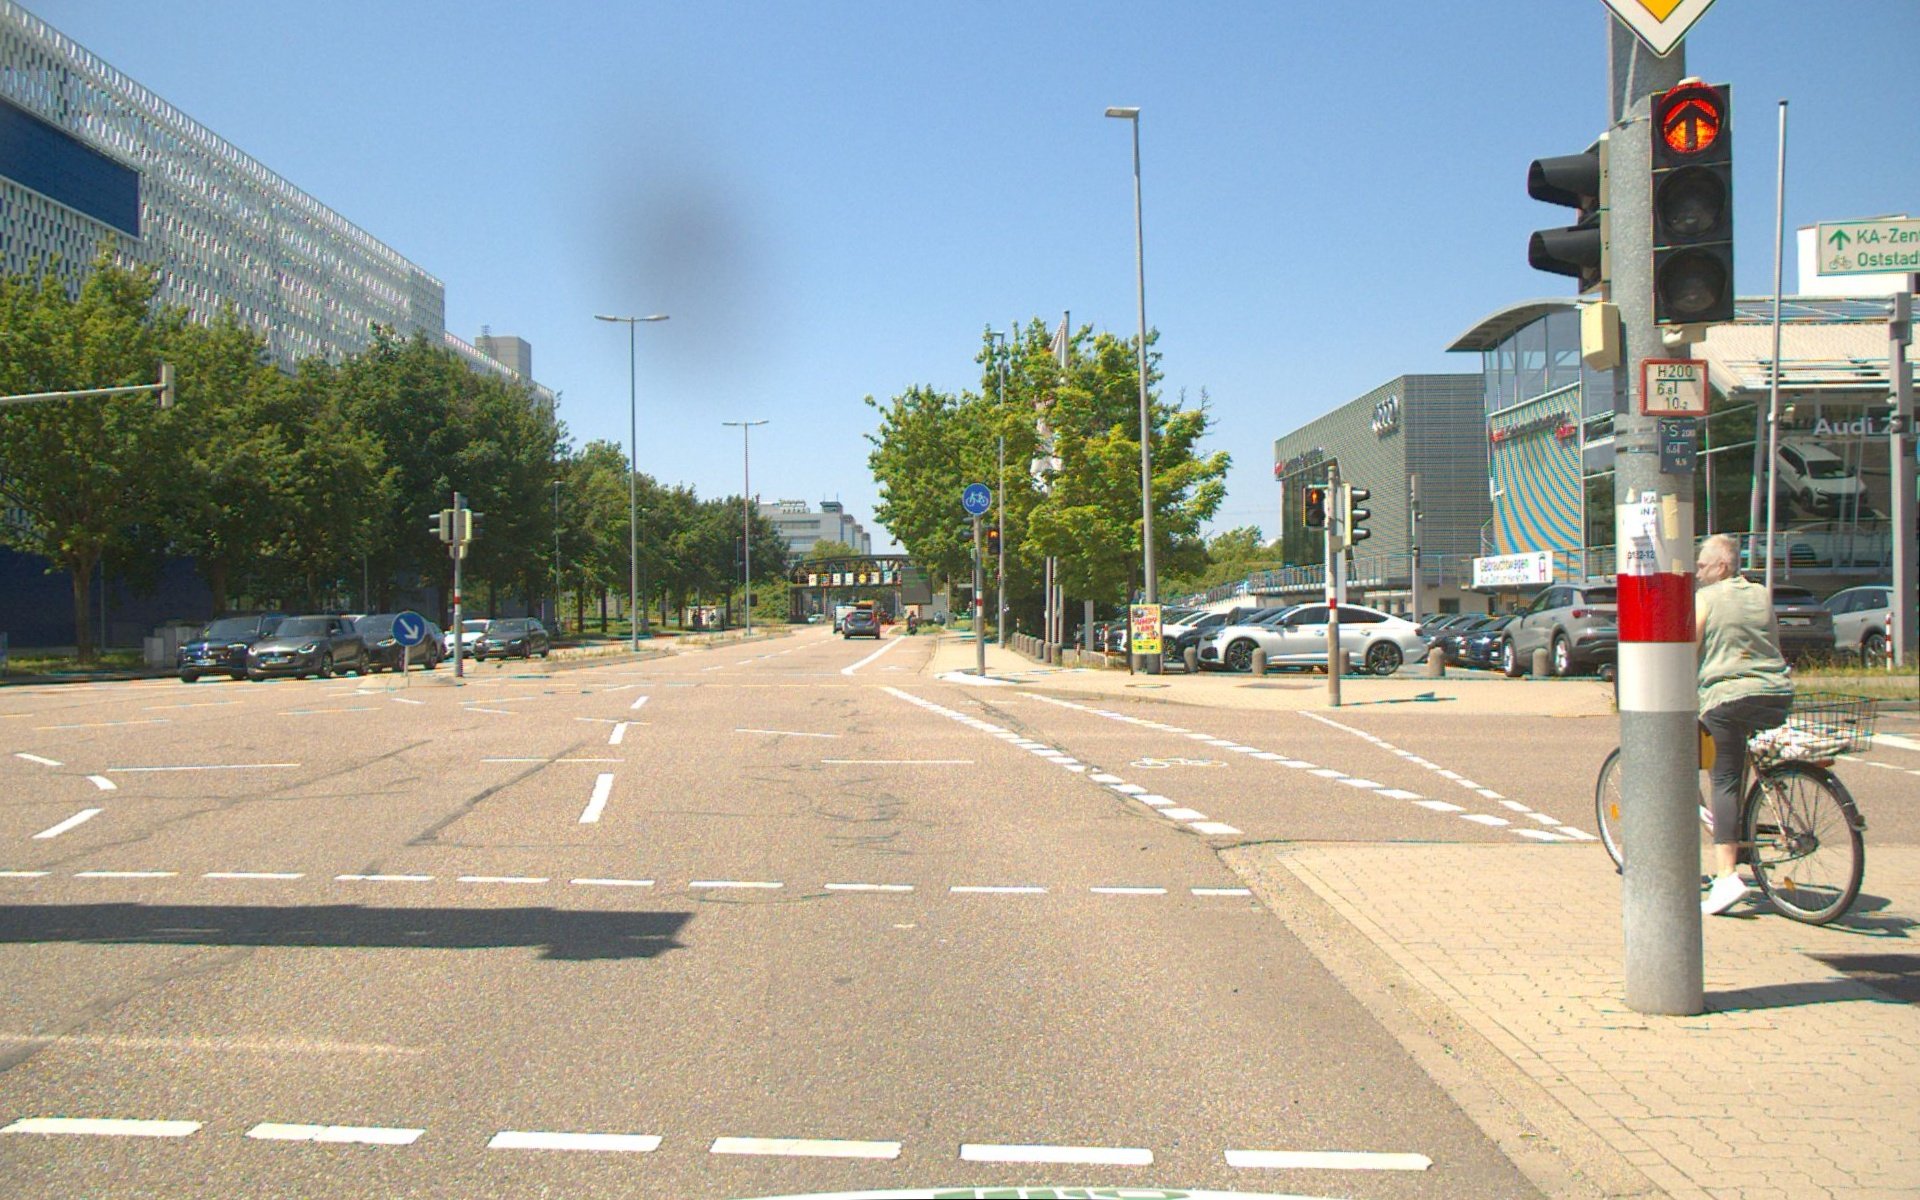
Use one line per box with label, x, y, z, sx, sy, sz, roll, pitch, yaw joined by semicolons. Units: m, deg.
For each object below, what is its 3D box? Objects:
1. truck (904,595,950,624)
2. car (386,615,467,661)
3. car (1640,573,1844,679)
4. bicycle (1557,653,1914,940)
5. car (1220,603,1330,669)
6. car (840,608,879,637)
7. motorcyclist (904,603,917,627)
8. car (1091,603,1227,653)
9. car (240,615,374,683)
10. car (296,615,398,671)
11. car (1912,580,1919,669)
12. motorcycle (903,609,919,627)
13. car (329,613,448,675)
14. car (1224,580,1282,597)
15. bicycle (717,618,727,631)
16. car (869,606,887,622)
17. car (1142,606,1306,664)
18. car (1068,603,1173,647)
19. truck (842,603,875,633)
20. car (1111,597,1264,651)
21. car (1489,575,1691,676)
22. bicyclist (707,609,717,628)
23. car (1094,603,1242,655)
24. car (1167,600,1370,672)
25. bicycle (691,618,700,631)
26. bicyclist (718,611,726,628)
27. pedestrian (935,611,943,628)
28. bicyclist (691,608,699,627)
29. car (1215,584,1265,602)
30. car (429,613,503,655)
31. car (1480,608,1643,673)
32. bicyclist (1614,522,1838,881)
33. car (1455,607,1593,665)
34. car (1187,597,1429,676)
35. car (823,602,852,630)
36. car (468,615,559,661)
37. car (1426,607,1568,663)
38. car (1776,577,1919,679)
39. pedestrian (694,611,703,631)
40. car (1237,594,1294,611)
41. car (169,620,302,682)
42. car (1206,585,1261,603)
truck;-3.333;0.982;169.937;2.563;2.900;5.611;1;0;25
car;-18.803;1.320;58.401;1.616;1.512;3.914;-2;-1;-1
car;13.631;0.449;29.090;1.806;1.683;3.999;2;-1;2
bicycle;3.677;0.871;8.044;0.616;1.153;1.891;0;0;-9
car;7.529;0.834;39.927;1.824;1.444;4.663;2;-1;1
car;-5.085;1.132;84.093;1.862;1.400;4.230;-1;0;-2
motorcyclist;-3.156;0.948;105.924;0.706;1.556;0.868;1;-1;-11
car;6.251;0.869;52.268;4.017;1.429;1.868;2;-1;-1
car;-15.167;1.118;38.627;1.610;1.413;3.715;-3;-1;0
car;-18.601;1.288;50.341;1.691;1.571;3.914;-2;-1;-1
car;18.694;0.479;28.979;1.604;1.644;3.814;0;1;-5
motorcycle;-3.148;1.175;105.864;0.703;1.124;1.825;1;-1;-10
car;-15.407;1.167;44.793;1.691;1.531;4.243;-3;-1;0
car;21.483;-0.814;121.348;3.862;1.232;1.715;0;-1;-5
bicycle;-23.230;2.382;161.541;0.616;1.179;2.116;-3;0;-2
car;-10.739;1.856;217.316;1.952;2.049;4.001;-2;0;2
car;6.934;0.908;43.780;4.013;1.388;1.874;2;-1;-1
car;5.847;0.904;60.413;3.607;1.479;1.833;2;-1;-1
truck;-8.652;1.538;141.700;2.408;2.452;7.132;1;0;-1
car;6.358;0.681;46.560;4.016;1.372;1.868;2;-1;-1
car;10.999;0.479;29.248;1.830;1.586;4.503;-2;-2;0
bicyclist;-22.485;1.694;149.815;0.730;1.715;0.952;-1;-1;-2
car;6.178;0.851;49.377;4.140;1.415;1.868;2;-1;-1
car;6.618;0.766;35.779;4.013;1.415;1.868;2;-1;-1
bicycle;-23.486;2.191;146.881;0.625;1.153;1.968;-1;-1;-5
bicyclist;-23.252;1.870;161.472;0.621;1.657;1.044;-3;-1;-2
pedestrian;-1.779;1.642;140.169;0.611;1.399;0.564;-1;-1;-3
bicyclist;-23.504;1.559;146.889;0.624;1.610;0.883;-1;-1;-5
car;21.342;-0.552;125.967;3.455;1.261;1.675;1;-1;-5
car;-19.139;1.316;64.278;1.708;1.512;3.999;-2;-1;-1
car;16.691;1.115;45.973;3.904;1.650;1.656;2;-1;-1
bicyclist;3.682;0.467;7.998;0.616;1.634;0.824;1;-1;-10
car;16.840;1.067;49.475;3.573;1.608;1.642;2;-1;-1
car;6.944;0.722;33.358;4.497;1.415;1.869;2;-1;1
car;-9.180;1.227;124.282;1.953;2.049;3.998;-1;0;-2
car;-15.505;1.313;57.694;1.691;1.471;4.720;-3;-1;2
car;16.741;1.077;51.649;3.901;1.601;1.633;2;-1;-1
car;16.465;0.498;29.255;1.808;1.683;3.994;2;-1;-5
pedestrian;-25.507;2.071;161.169;0.728;1.917;0.577;-1;-1;0
car;21.422;0.164;116.105;3.652;1.150;1.682;1;-1;-5
car;-18.357;1.263;42.094;1.627;1.449;4.037;-2;-1;-1
car;21.450;-0.451;129.637;3.909;1.335;1.795;1;-1;-5
